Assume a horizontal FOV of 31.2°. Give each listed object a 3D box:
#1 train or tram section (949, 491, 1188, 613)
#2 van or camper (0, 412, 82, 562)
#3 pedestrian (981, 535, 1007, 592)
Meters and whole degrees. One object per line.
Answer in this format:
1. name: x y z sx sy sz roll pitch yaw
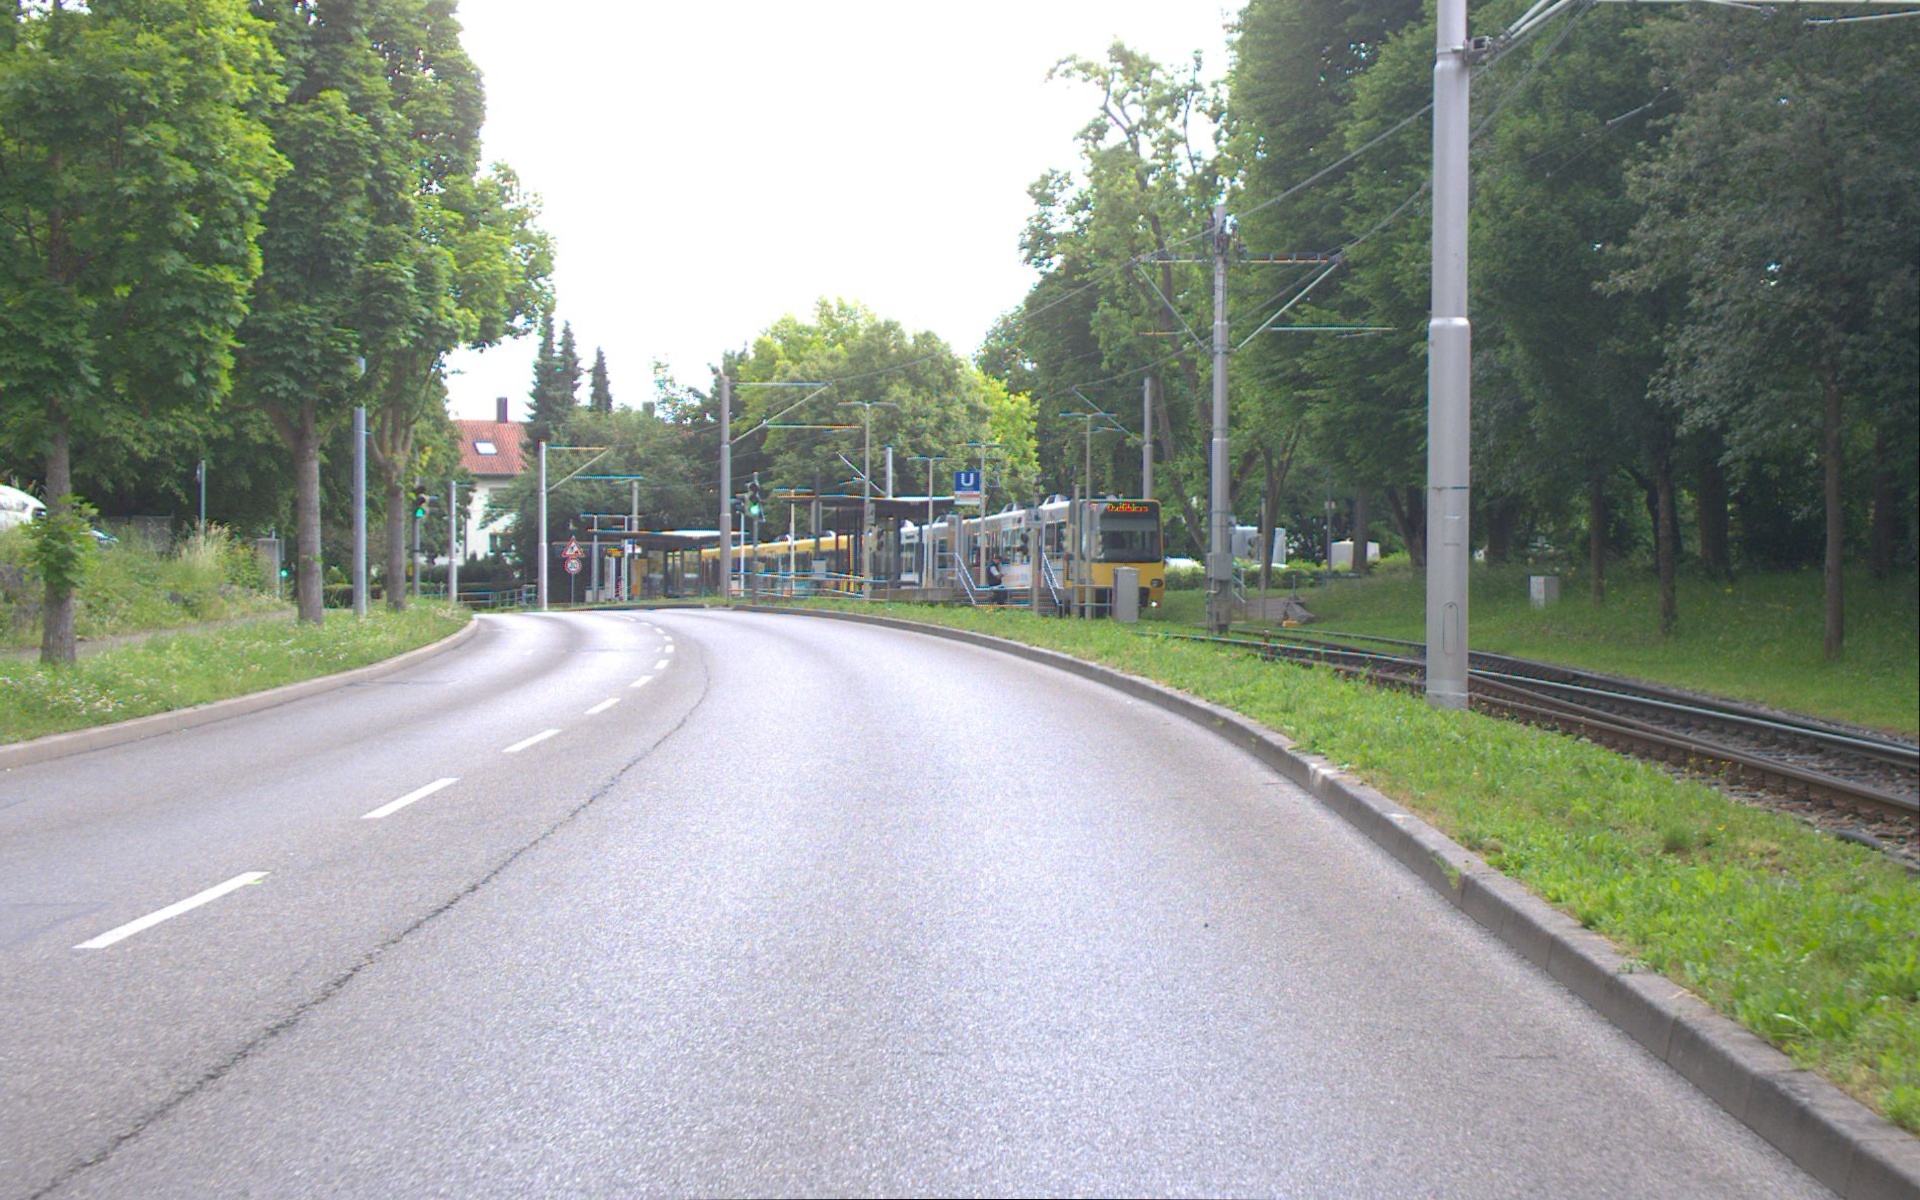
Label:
1. train or tram section: 2.938 -1.654 112.180 3.007 3.299 34.718 1 1 -6
2. van or camper: -16.103 -1.737 51.635 5.332 2.195 2.000 1 1 -3
3. pedestrian: 0.864 -0.941 88.043 0.567 1.459 0.595 1 1 -7
